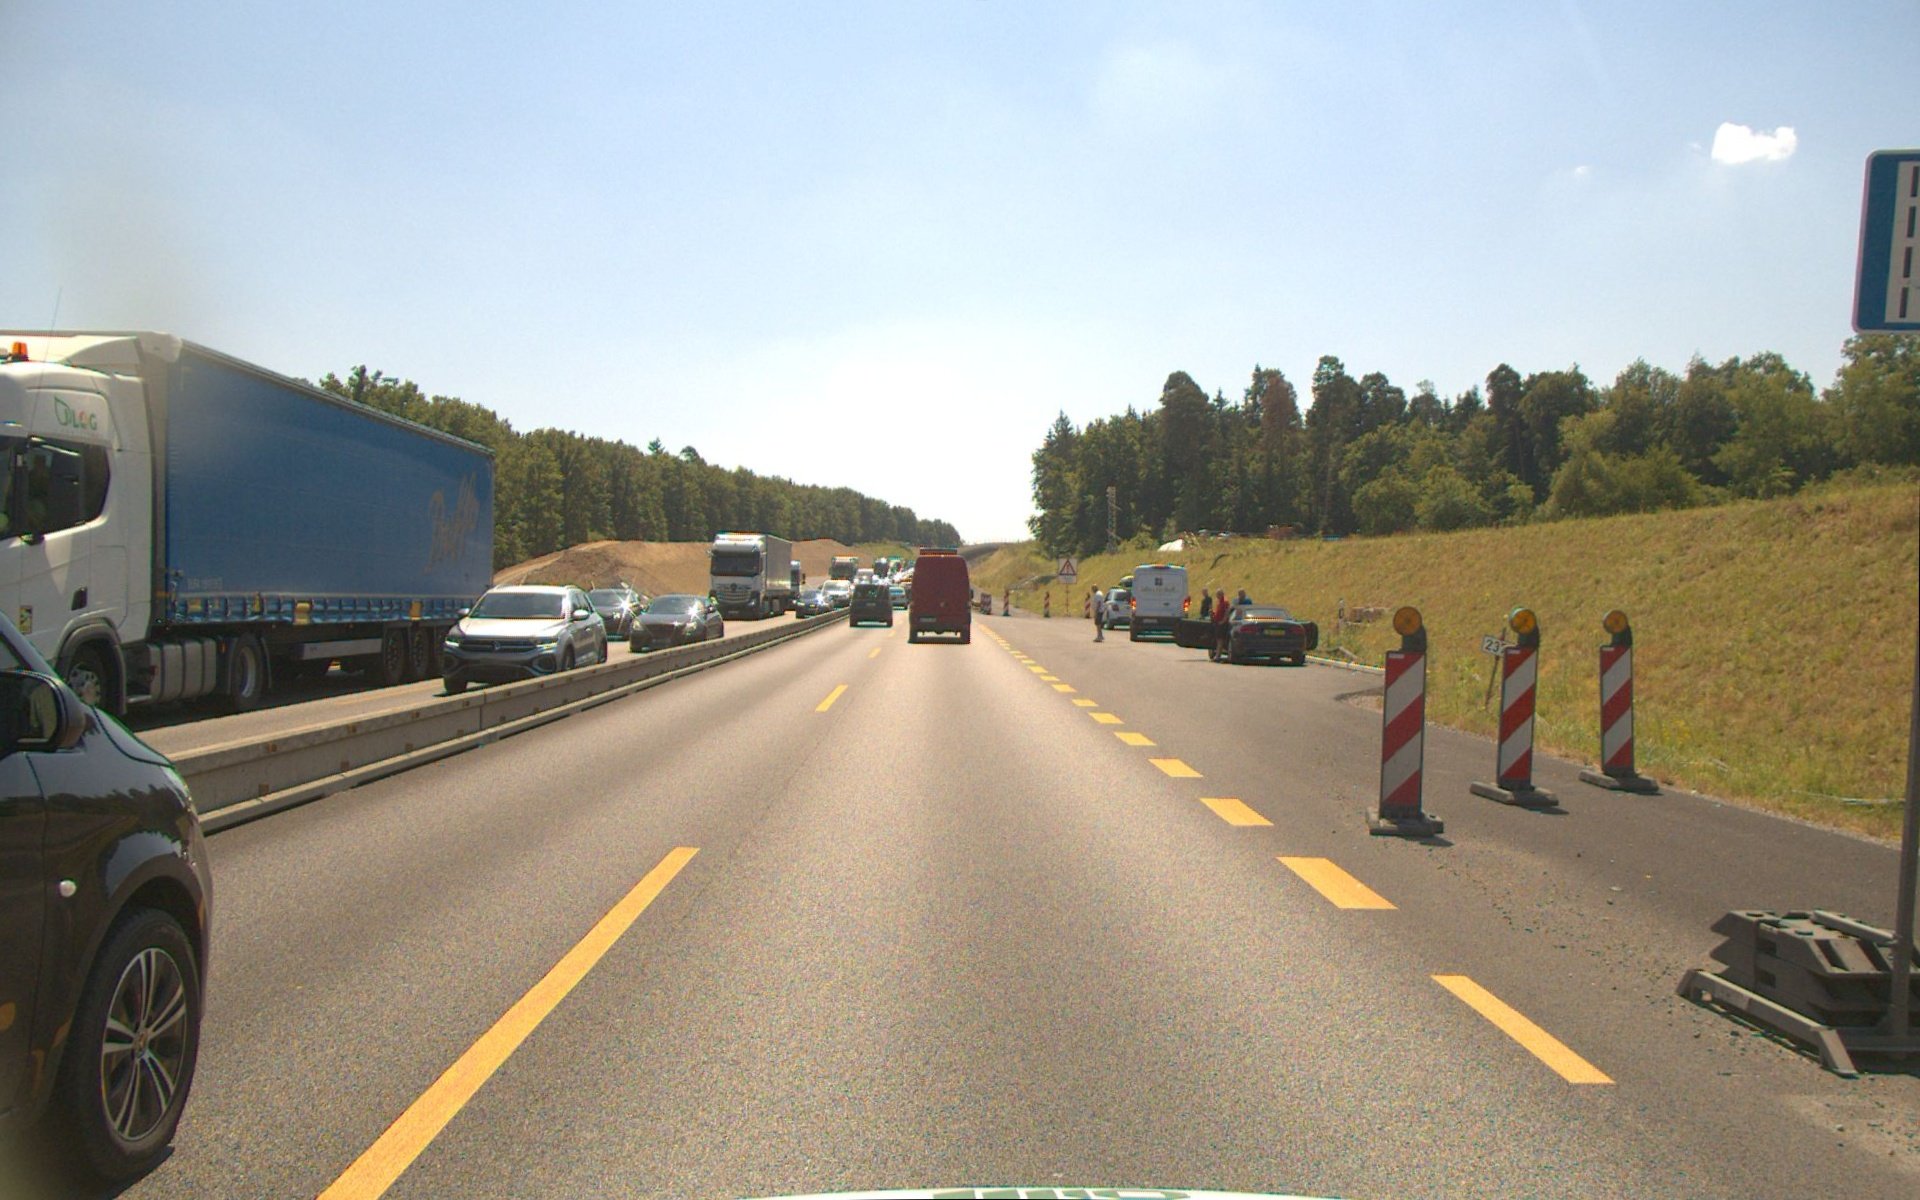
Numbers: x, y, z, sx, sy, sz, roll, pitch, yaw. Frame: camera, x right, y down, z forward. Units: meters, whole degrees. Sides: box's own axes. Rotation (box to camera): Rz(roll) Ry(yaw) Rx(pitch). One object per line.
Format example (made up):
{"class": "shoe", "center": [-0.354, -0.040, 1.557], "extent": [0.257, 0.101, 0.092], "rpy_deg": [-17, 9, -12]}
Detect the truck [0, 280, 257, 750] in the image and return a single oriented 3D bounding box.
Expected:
{"class": "truck", "center": [-9.597, -0.783, 17.072], "extent": [2.539, 4.124, 5.148], "rpy_deg": [1, 0, -2]}

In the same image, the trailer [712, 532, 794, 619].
{"class": "trailer", "center": [-10.677, -1.220, 86.693], "extent": [2.734, 4.146, 13.708], "rpy_deg": [1, 0, -1]}

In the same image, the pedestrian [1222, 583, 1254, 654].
{"class": "pedestrian", "center": [7.372, 0.479, 43.843], "extent": [0.613, 1.860, 0.640], "rpy_deg": [1, 0, -13]}

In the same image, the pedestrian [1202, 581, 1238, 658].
{"class": "pedestrian", "center": [6.336, 0.481, 40.360], "extent": [0.631, 1.860, 0.555], "rpy_deg": [1, 0, -22]}

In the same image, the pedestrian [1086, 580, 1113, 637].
{"class": "pedestrian", "center": [4.622, 0.282, 54.975], "extent": [0.710, 1.860, 0.718], "rpy_deg": [1, -1, -9]}

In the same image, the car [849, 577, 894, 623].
{"class": "car", "center": [-3.790, -0.019, 71.131], "extent": [1.716, 1.856, 4.781], "rpy_deg": [1, 0, -1]}

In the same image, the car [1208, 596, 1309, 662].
{"class": "car", "center": [7.284, 0.667, 40.739], "extent": [1.620, 1.451, 4.544], "rpy_deg": [-2, 1, 0]}

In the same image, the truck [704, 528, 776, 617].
{"class": "truck", "center": [-10.540, -1.263, 79.578], "extent": [2.712, 4.114, 4.942], "rpy_deg": [1, -1, 0]}

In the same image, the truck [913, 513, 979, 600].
{"class": "truck", "center": [-1.061, -2.946, 120.111], "extent": [4.311, 5.592, 16.599], "rpy_deg": [1, -1, -1]}

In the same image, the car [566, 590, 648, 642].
{"class": "car", "center": [-10.480, 0.488, 49.388], "extent": [1.597, 1.449, 4.500], "rpy_deg": [1, -1, -2]}

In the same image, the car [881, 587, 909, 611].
{"class": "car", "center": [-4.455, -0.049, 113.781], "extent": [1.794, 1.549, 3.960], "rpy_deg": [1, -1, -1]}

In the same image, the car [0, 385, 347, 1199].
{"class": "car", "center": [-2.853, 0.490, 2.517], "extent": [1.836, 1.883, 5.477], "rpy_deg": [1, 0, -1]}

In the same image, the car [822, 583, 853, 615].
{"class": "car", "center": [-7.915, -0.021, 107.245], "extent": [1.788, 1.960, 5.261], "rpy_deg": [1, -1, -2]}

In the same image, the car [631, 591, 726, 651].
{"class": "car", "center": [-7.090, 0.529, 42.062], "extent": [1.694, 1.411, 4.858], "rpy_deg": [1, -1, -2]}

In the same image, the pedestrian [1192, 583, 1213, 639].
{"class": "pedestrian", "center": [8.056, 0.374, 54.998], "extent": [0.552, 1.827, 0.667], "rpy_deg": [1, -1, -3]}

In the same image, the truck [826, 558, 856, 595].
{"class": "truck", "center": [-12.742, -2.506, 177.757], "extent": [2.457, 3.680, 9.639], "rpy_deg": [1, -1, 0]}

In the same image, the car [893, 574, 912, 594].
{"class": "car", "center": [-6.211, -1.737, 179.689], "extent": [1.953, 2.049, 3.998], "rpy_deg": [1, -1, -2]}

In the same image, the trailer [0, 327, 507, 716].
{"class": "trailer", "center": [-9.776, -0.833, 24.195], "extent": [2.599, 4.007, 13.993], "rpy_deg": [1, 0, -1]}

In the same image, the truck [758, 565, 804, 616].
{"class": "truck", "center": [-11.353, -0.584, 105.244], "extent": [2.349, 3.112, 5.062], "rpy_deg": [1, -1, 0]}

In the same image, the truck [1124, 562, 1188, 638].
{"class": "truck", "center": [6.925, -0.031, 58.786], "extent": [2.085, 2.500, 5.929], "rpy_deg": [1, 1, 6]}

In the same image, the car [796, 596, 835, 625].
{"class": "car", "center": [-7.393, 0.535, 84.845], "extent": [1.692, 1.411, 4.482], "rpy_deg": [1, -1, -2]}

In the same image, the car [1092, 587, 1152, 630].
{"class": "car", "center": [7.066, 0.352, 72.473], "extent": [1.739, 1.706, 4.851], "rpy_deg": [2, 1, -5]}

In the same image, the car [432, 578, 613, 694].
{"class": "car", "center": [-6.519, 0.493, 25.102], "extent": [1.740, 1.582, 4.138], "rpy_deg": [-1, 0, -2]}

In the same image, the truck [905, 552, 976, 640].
{"class": "truck", "center": [-0.649, -0.096, 53.136], "extent": [2.109, 2.635, 5.331], "rpy_deg": [1, -1, -1]}
